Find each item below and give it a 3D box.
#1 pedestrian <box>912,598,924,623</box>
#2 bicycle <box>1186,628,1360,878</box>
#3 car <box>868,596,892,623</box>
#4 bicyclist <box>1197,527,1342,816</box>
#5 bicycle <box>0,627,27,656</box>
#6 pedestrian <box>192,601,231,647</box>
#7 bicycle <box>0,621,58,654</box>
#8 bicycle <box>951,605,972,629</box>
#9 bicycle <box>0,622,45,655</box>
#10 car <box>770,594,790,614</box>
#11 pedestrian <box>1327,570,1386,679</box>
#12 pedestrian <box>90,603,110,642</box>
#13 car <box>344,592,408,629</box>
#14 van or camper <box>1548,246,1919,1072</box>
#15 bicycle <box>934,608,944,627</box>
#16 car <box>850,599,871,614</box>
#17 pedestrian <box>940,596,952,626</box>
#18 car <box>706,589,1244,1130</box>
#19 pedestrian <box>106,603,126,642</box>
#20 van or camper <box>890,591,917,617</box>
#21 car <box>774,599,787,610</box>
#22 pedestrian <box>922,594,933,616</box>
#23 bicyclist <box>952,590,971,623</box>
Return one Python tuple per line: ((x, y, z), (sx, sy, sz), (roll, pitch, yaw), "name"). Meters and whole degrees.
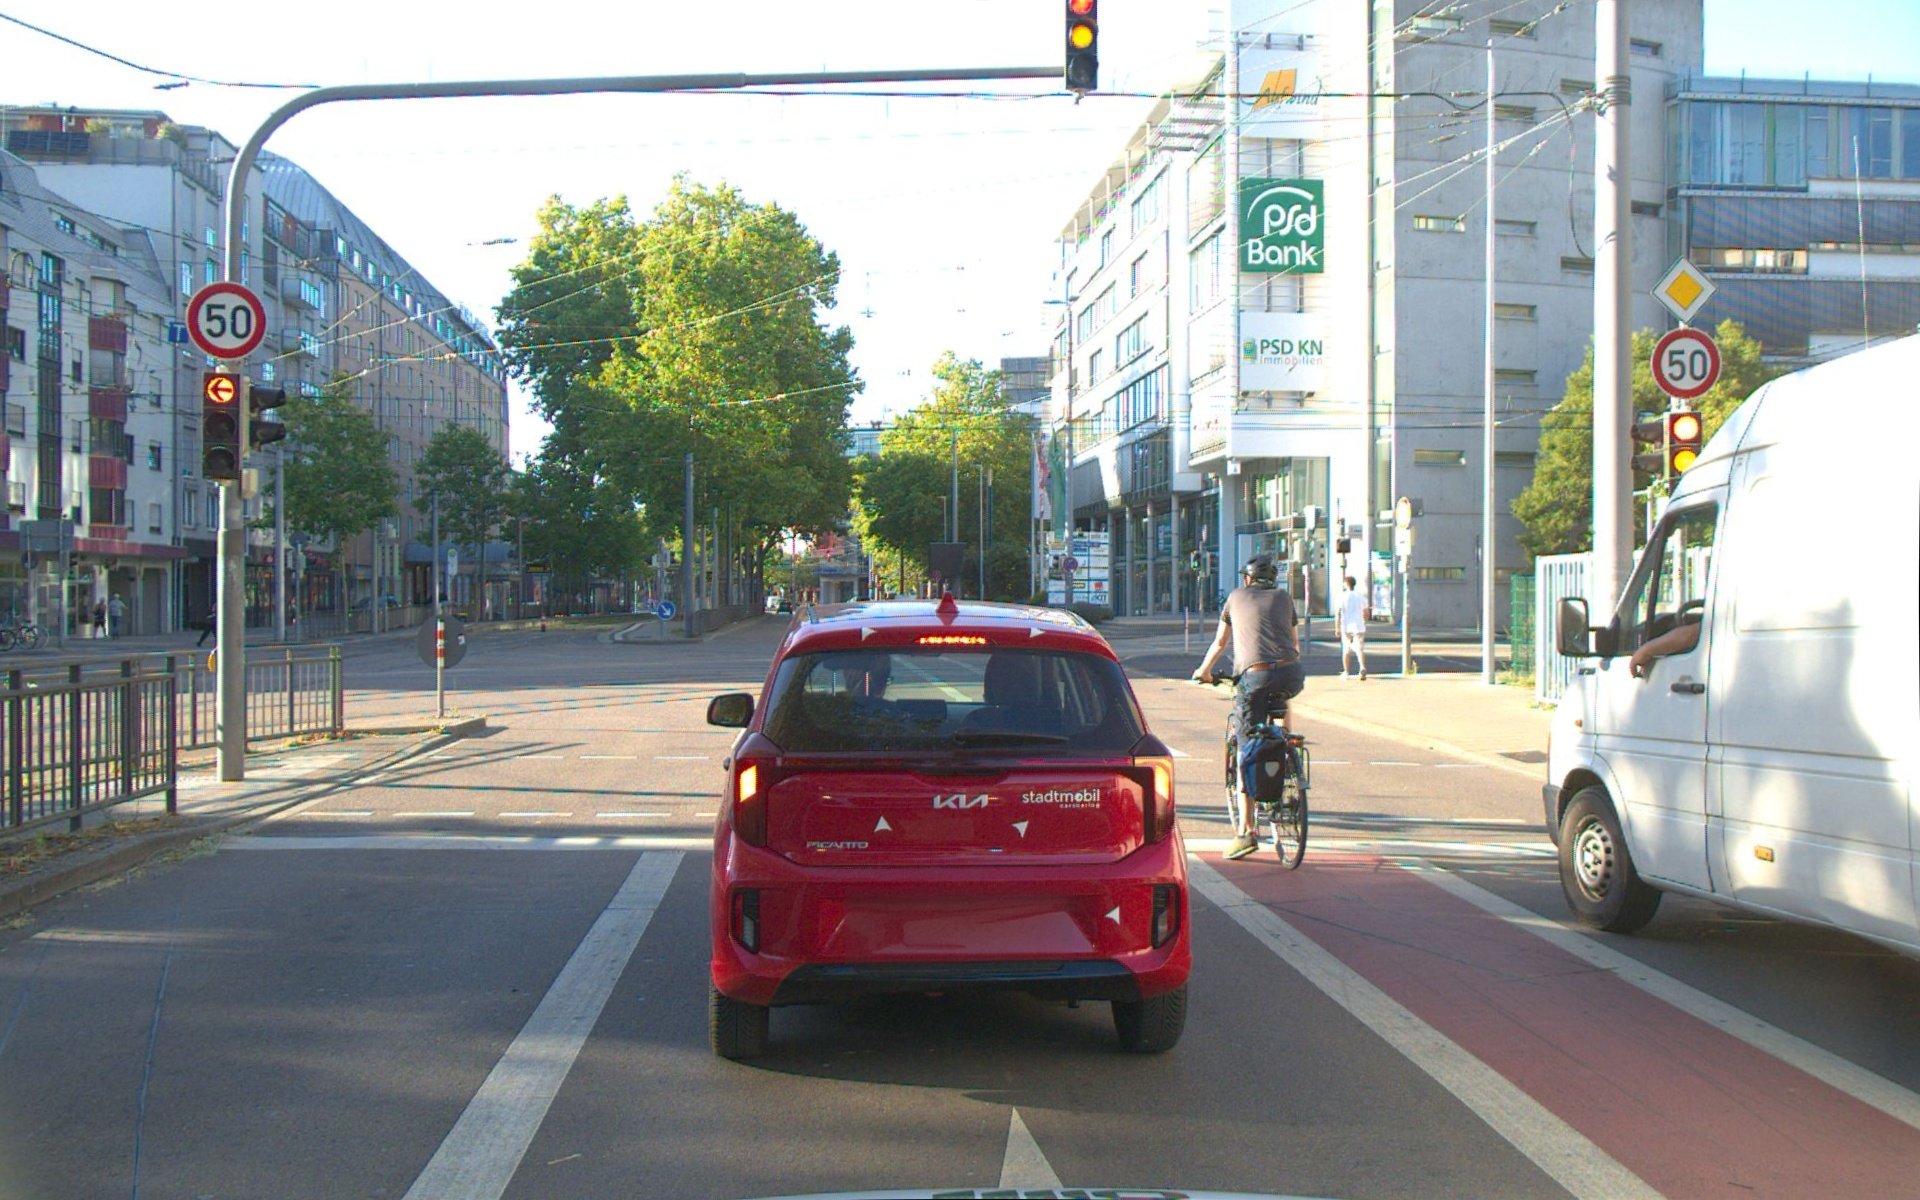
((-2.808, 0.716, 111.567), (0.630, 1.607, 0.722), (-4, 0, -8), "pedestrian")
((1.827, 0.844, 9.928), (0.637, 1.303, 1.965), (0, 0, -1), "bicycle")
((-5.449, 0.632, 112.349), (1.603, 1.831, 3.327), (0, 0, -3), "car")
((1.832, 0.404, 9.918), (0.637, 1.631, 1.088), (0, 0, -1), "bicyclist")
((-29.449, 1.261, 50.277), (1.806, 0.869, 0.553), (0, 0, -4), "bicycle")
((-26.079, 0.841, 57.646), (1.023, 1.571, 0.695), (-1, 0, 10), "pedestrian")
((-29.541, 1.175, 52.157), (1.808, 1.002, 0.552), (0, 0, -8), "bicycle")
((0.081, 0.856, 83.062), (0.684, 1.117, 1.746), (-4, 1, -10), "bicycle")
((-29.598, 1.211, 51.541), (1.808, 1.002, 0.552), (0, 0, -8), "bicycle")
((-19.069, 0.450, 175.234), (1.956, 2.049, 3.992), (0, 0, -8), "car")
((6.881, 0.417, 28.760), (0.761, 1.855, 1.216), (0, 0, 2), "pedestrian")
((-34.302, 0.892, 65.954), (0.524, 1.520, 0.586), (0, 0, -9), "pedestrian")
((-27.857, 0.486, 79.044), (1.917, 1.702, 4.255), (0, 0, -6), "car")
((4.191, 0.203, 5.407), (1.930, 2.763, 6.300), (1, 0, -4), "van or camper")
((-1.223, 1.011, 94.378), (0.510, 0.991, 2.201), (-4, 1, -1), "bicycle")
((-10.407, 0.635, 172.727), (1.745, 1.561, 3.504), (0, 0, -10), "car")
((-0.786, 0.632, 94.543), (0.633, 1.710, 0.651), (0, 0, -4), "pedestrian")
((-0.096, 0.750, 6.562), (1.582, 1.561, 3.408), (0, 0, -5), "car")
((-33.727, 0.903, 66.098), (0.524, 1.520, 0.586), (0, 0, -9), "pedestrian")
((-4.542, 0.298, 132.214), (1.954, 2.024, 4.740), (0, 0, -4), "van or camper")
((-27.784, 0.677, 255.396), (1.745, 1.561, 3.403), (0, 0, -10), "car")
((-2.562, 0.393, 132.160), (0.873, 1.783, 0.841), (0, 0, -1), "pedestrian")
((0.085, 0.333, 83.017), (0.709, 1.631, 1.086), (-3, 0, -10), "bicyclist")
